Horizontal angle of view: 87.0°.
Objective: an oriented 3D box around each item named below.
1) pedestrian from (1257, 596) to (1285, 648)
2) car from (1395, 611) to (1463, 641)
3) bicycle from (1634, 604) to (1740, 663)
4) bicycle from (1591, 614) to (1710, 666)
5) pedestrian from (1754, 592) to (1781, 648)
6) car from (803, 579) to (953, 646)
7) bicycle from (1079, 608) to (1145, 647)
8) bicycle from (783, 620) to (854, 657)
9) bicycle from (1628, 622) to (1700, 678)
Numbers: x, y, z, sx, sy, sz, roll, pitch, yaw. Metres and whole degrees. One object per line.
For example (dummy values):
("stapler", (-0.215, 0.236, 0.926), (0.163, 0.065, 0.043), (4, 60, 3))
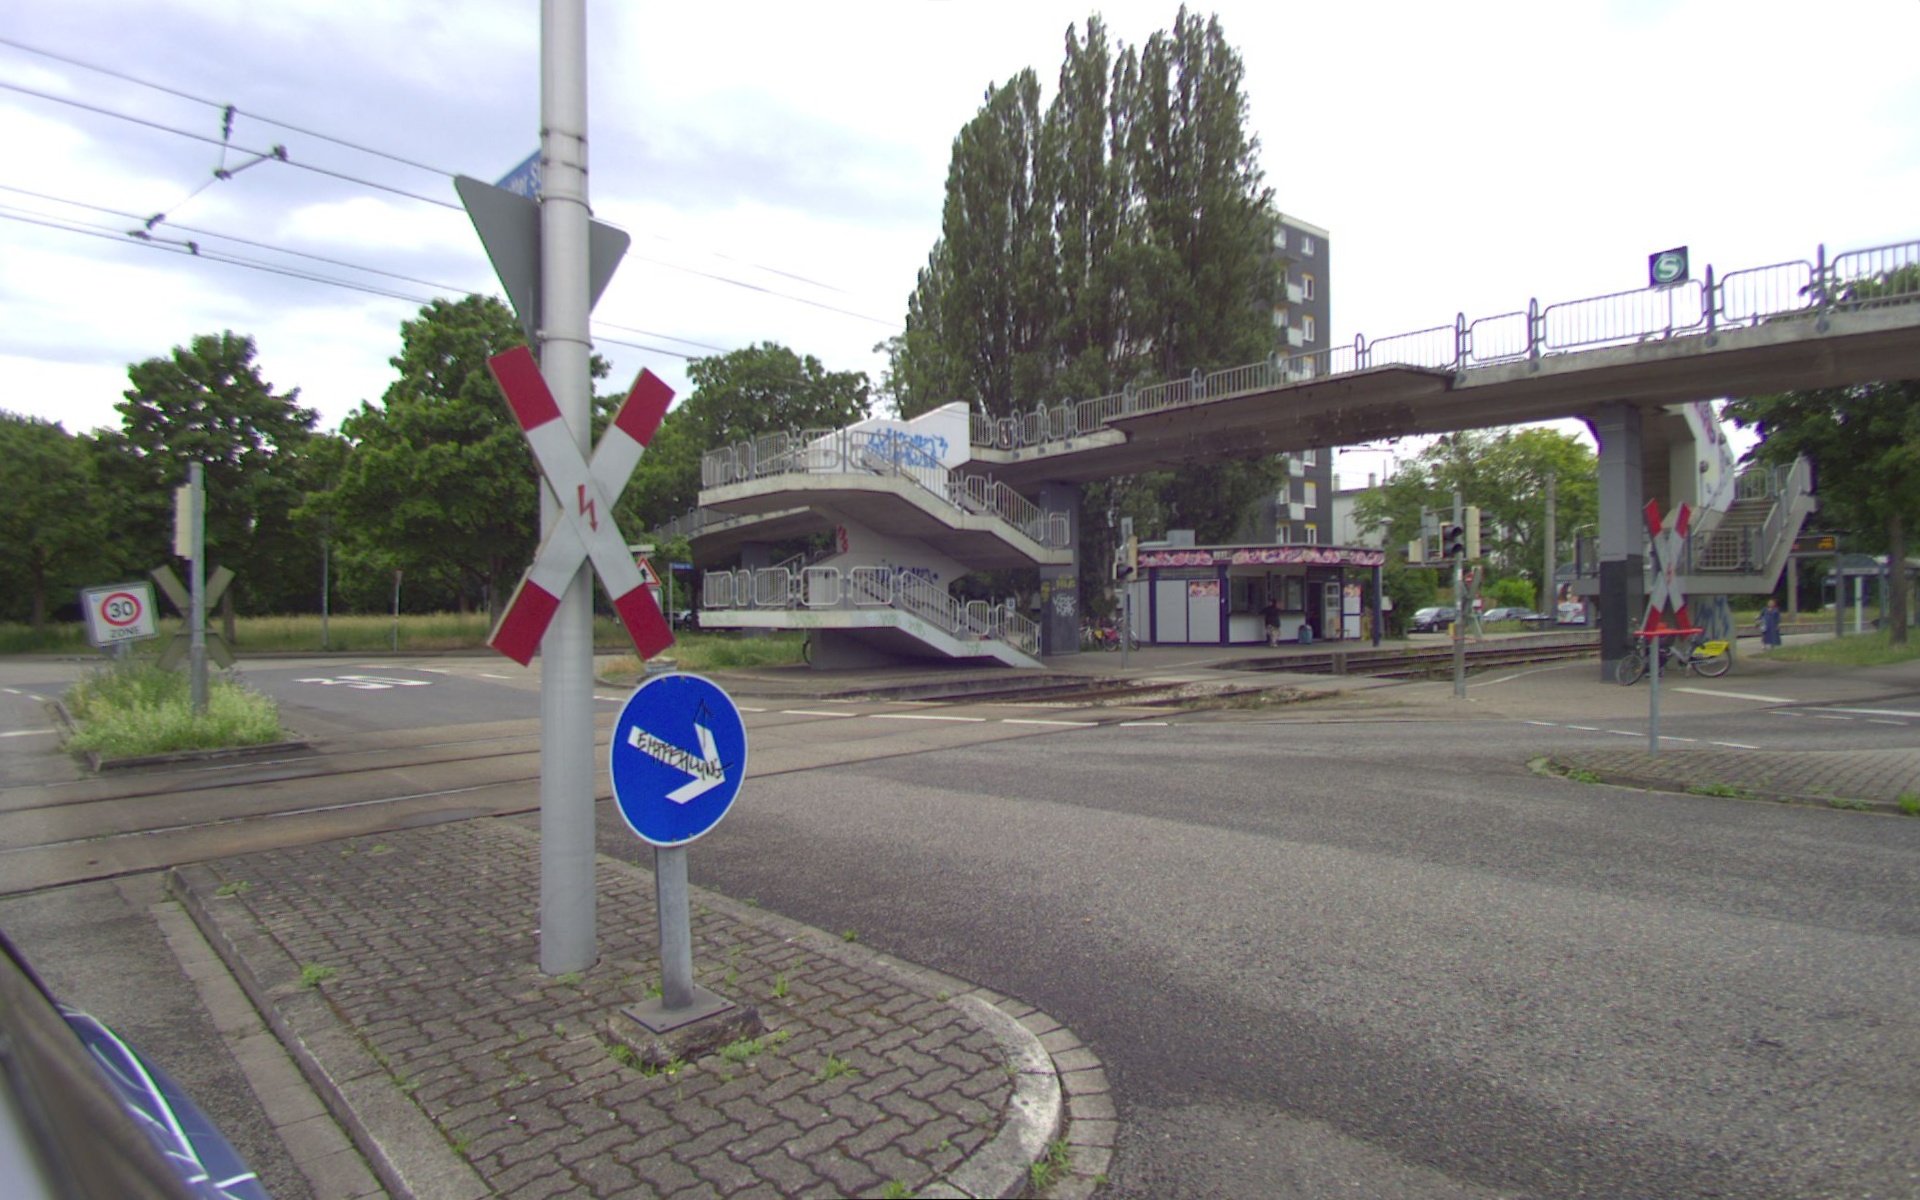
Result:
("pedestrian", (10.051, 0.706, 32.719), (0.675, 1.677, 0.543), (0, -1, -40))
("car", (25.923, 1.422, 55.924), (3.934, 1.572, 1.672), (0, 0, -36))
("bicycle", (13.827, 0.627, 19.283), (1.602, 1.103, 0.349), (0, 0, 18))
("bicycle", (12.521, 0.704, 18.324), (2.365, 0.895, 0.559), (0, 0, -22))
("pedestrian", (23.264, 0.566, 29.158), (0.560, 1.576, 0.330), (0, 0, 45))
("car", (-2.980, 0.391, 37.273), (5.121, 2.309, 2.147), (-1, 1, -34))
("bicycle", (4.737, 0.825, 31.307), (0.989, 1.123, 2.758), (-1, -1, 32))
("bicycle", (-3.499, 0.949, 25.080), (1.712, 0.892, 0.396), (0, 0, -22))
("bicycle", (12.681, 0.880, 18.207), (2.003, 0.928, 0.375), (0, -1, -35))
